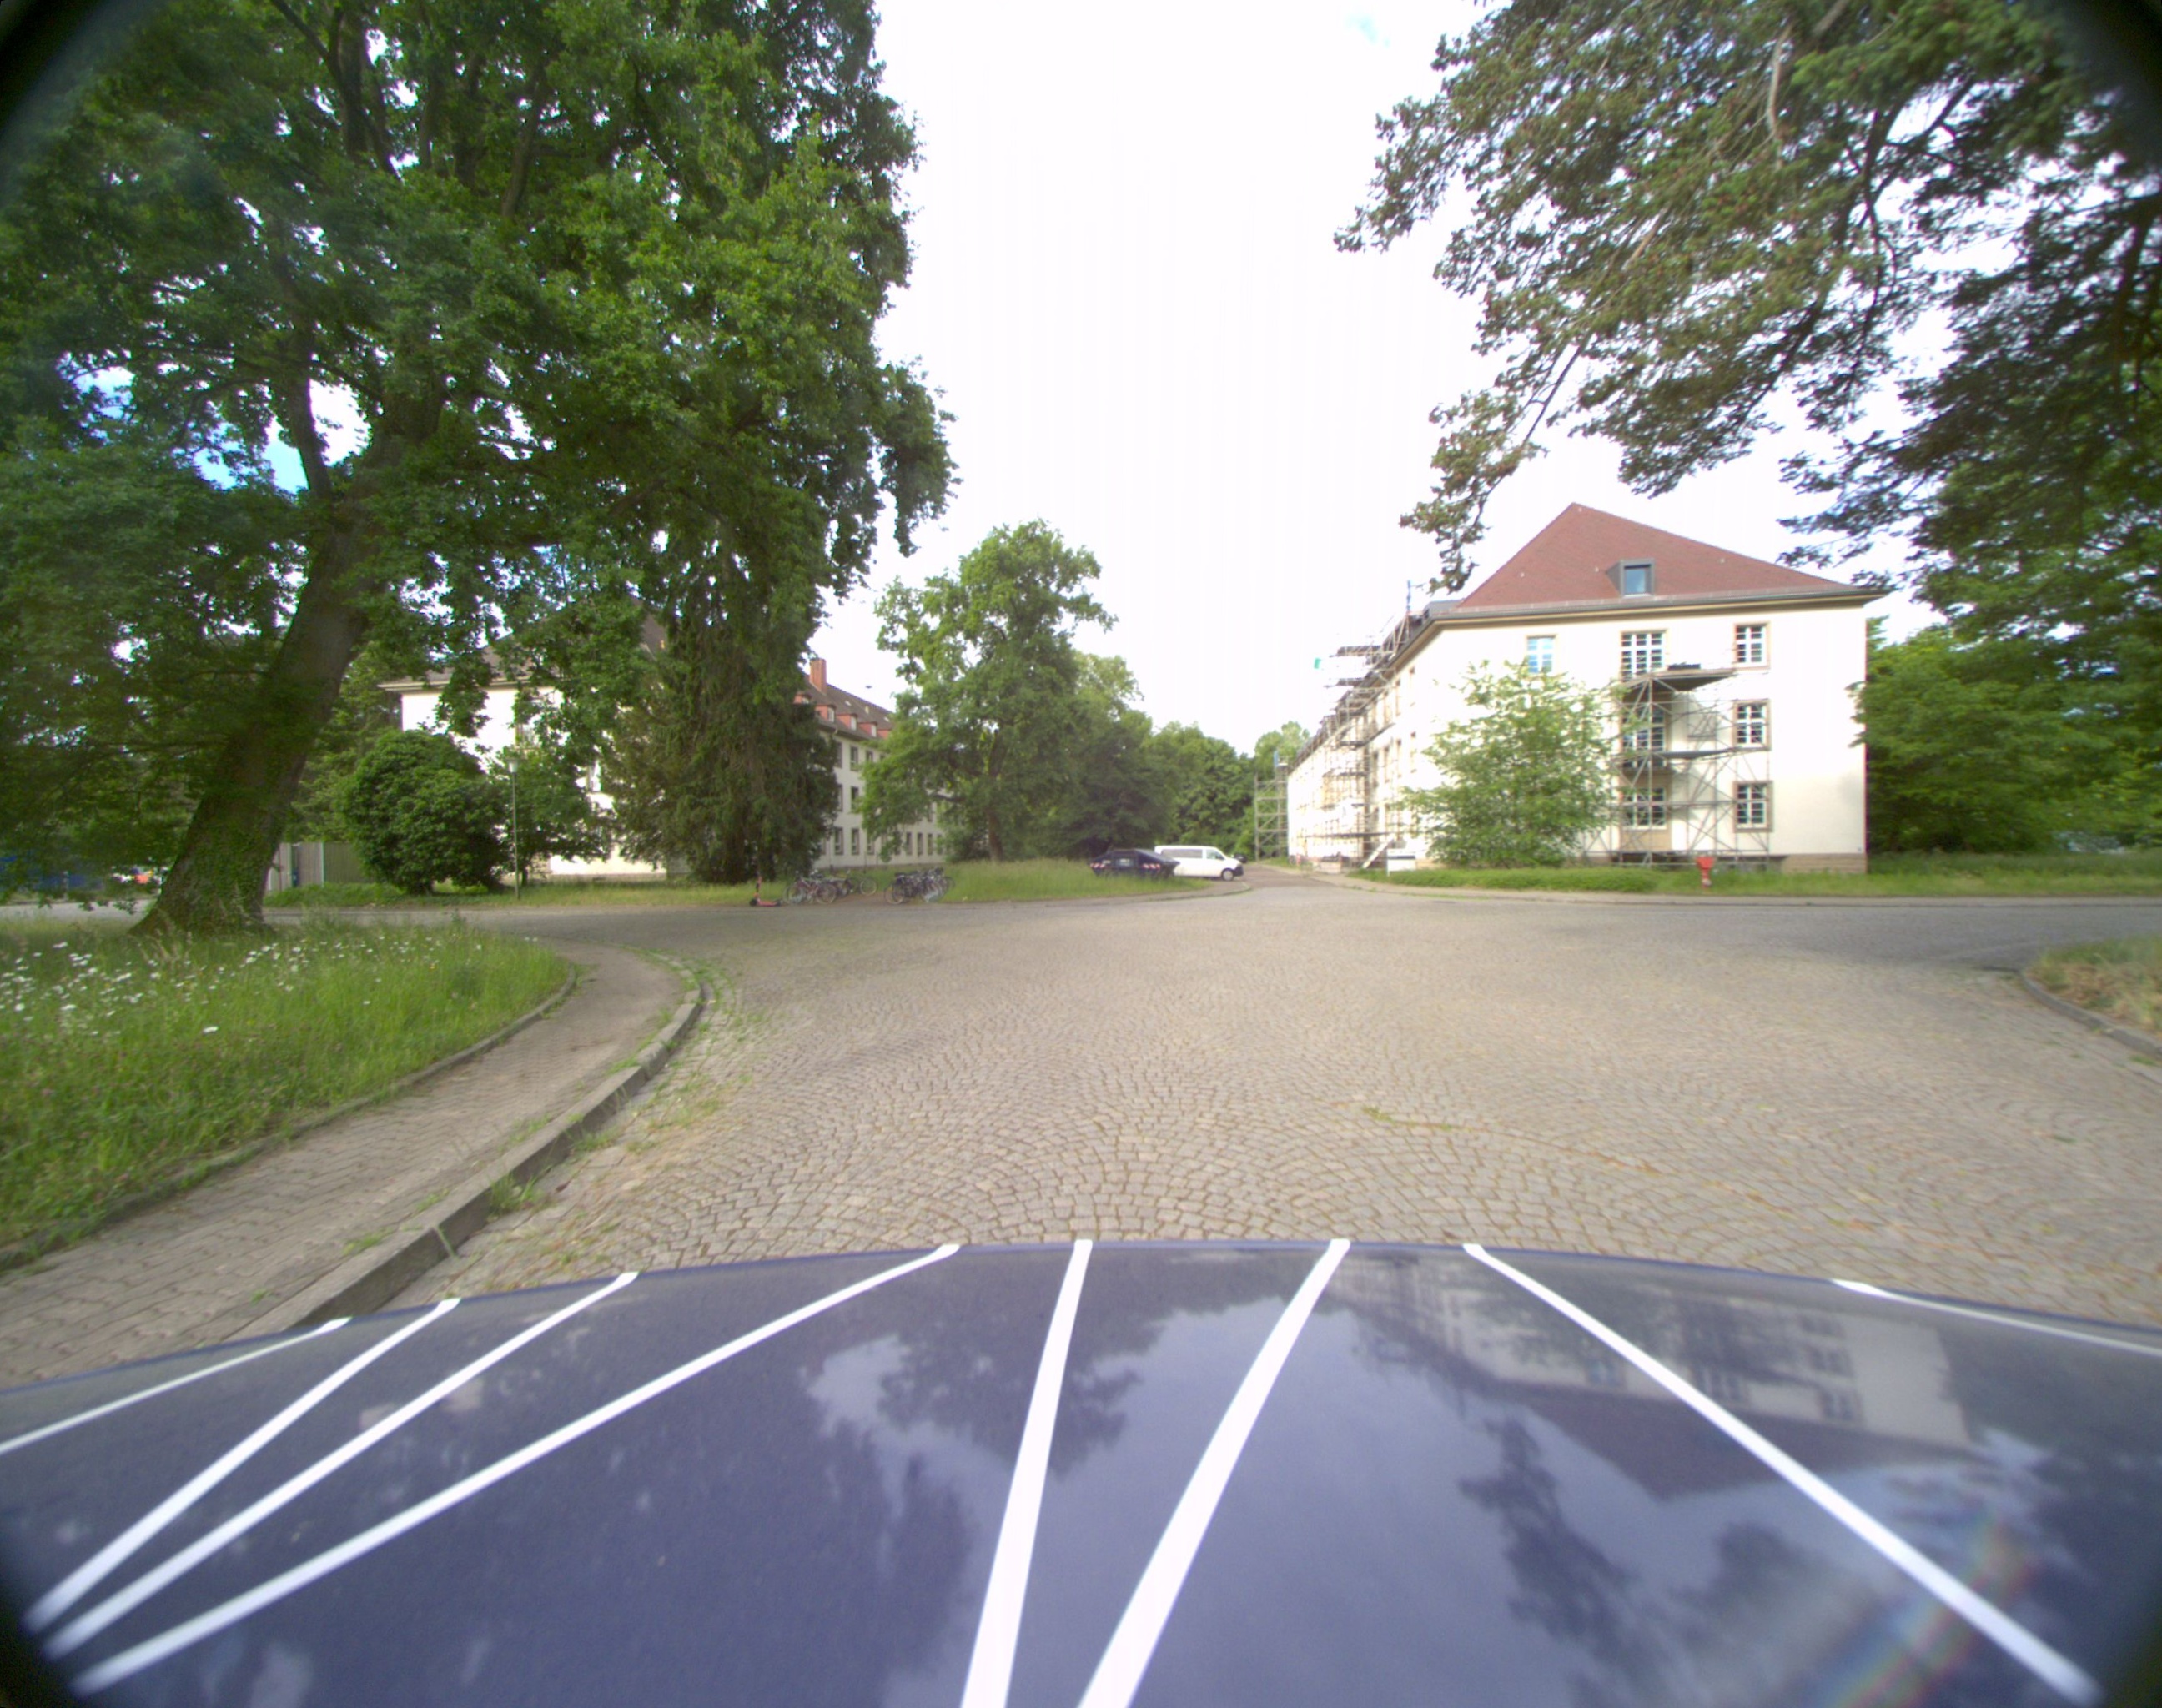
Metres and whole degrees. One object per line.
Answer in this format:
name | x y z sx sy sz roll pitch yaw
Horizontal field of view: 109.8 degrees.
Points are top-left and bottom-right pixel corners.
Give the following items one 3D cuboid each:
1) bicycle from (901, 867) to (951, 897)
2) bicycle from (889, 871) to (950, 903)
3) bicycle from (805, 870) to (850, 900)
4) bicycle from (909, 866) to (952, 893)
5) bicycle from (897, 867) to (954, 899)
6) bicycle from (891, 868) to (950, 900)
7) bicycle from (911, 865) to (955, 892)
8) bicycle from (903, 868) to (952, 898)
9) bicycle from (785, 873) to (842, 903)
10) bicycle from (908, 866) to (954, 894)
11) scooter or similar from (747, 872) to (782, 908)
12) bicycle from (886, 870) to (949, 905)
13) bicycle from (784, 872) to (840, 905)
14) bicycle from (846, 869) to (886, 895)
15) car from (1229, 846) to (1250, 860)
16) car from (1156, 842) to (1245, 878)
bicycle | -5.973 1.074 29.284 1.867 1.082 0.519 -1 3 -12
bicycle | -5.503 1.112 25.947 2.018 1.004 0.478 -1 3 -12
bicycle | -9.509 1.161 28.509 1.568 1.082 0.561 -1 1 -21
bicycle | -6.321 1.052 31.944 1.752 1.082 0.552 -1 3 -12
bicycle | -5.661 1.047 27.703 2.018 1.082 0.478 -1 3 -12
bicycle | -5.699 1.069 27.062 2.018 1.082 0.478 -1 3 -12
bicycle | -6.360 1.041 32.737 1.826 1.082 0.552 -1 3 -12
bicycle | -5.755 1.080 28.517 1.789 1.082 0.478 -1 3 -12
bicycle | -9.452 1.200 26.901 1.858 0.984 0.455 -1 1 -18
bicycle | -6.157 1.057 31.180 1.809 1.082 0.552 -1 3 -12
scooter or similar | -10.749 1.209 25.802 1.062 1.188 0.386 -1 1 12
bicycle | -5.473 1.111 25.455 2.018 1.082 0.478 -1 3 -12
bicycle | -9.309 1.183 26.361 1.814 1.082 0.478 -1 3 -18
bicycle | -8.748 1.123 30.975 1.567 1.028 0.476 -1 1 -15
car | 22.645 -0.204 108.619 2.027 1.915 3.999 -1 0 -1
car | 6.868 0.330 44.010 4.912 1.983 2.001 -1 0 7
